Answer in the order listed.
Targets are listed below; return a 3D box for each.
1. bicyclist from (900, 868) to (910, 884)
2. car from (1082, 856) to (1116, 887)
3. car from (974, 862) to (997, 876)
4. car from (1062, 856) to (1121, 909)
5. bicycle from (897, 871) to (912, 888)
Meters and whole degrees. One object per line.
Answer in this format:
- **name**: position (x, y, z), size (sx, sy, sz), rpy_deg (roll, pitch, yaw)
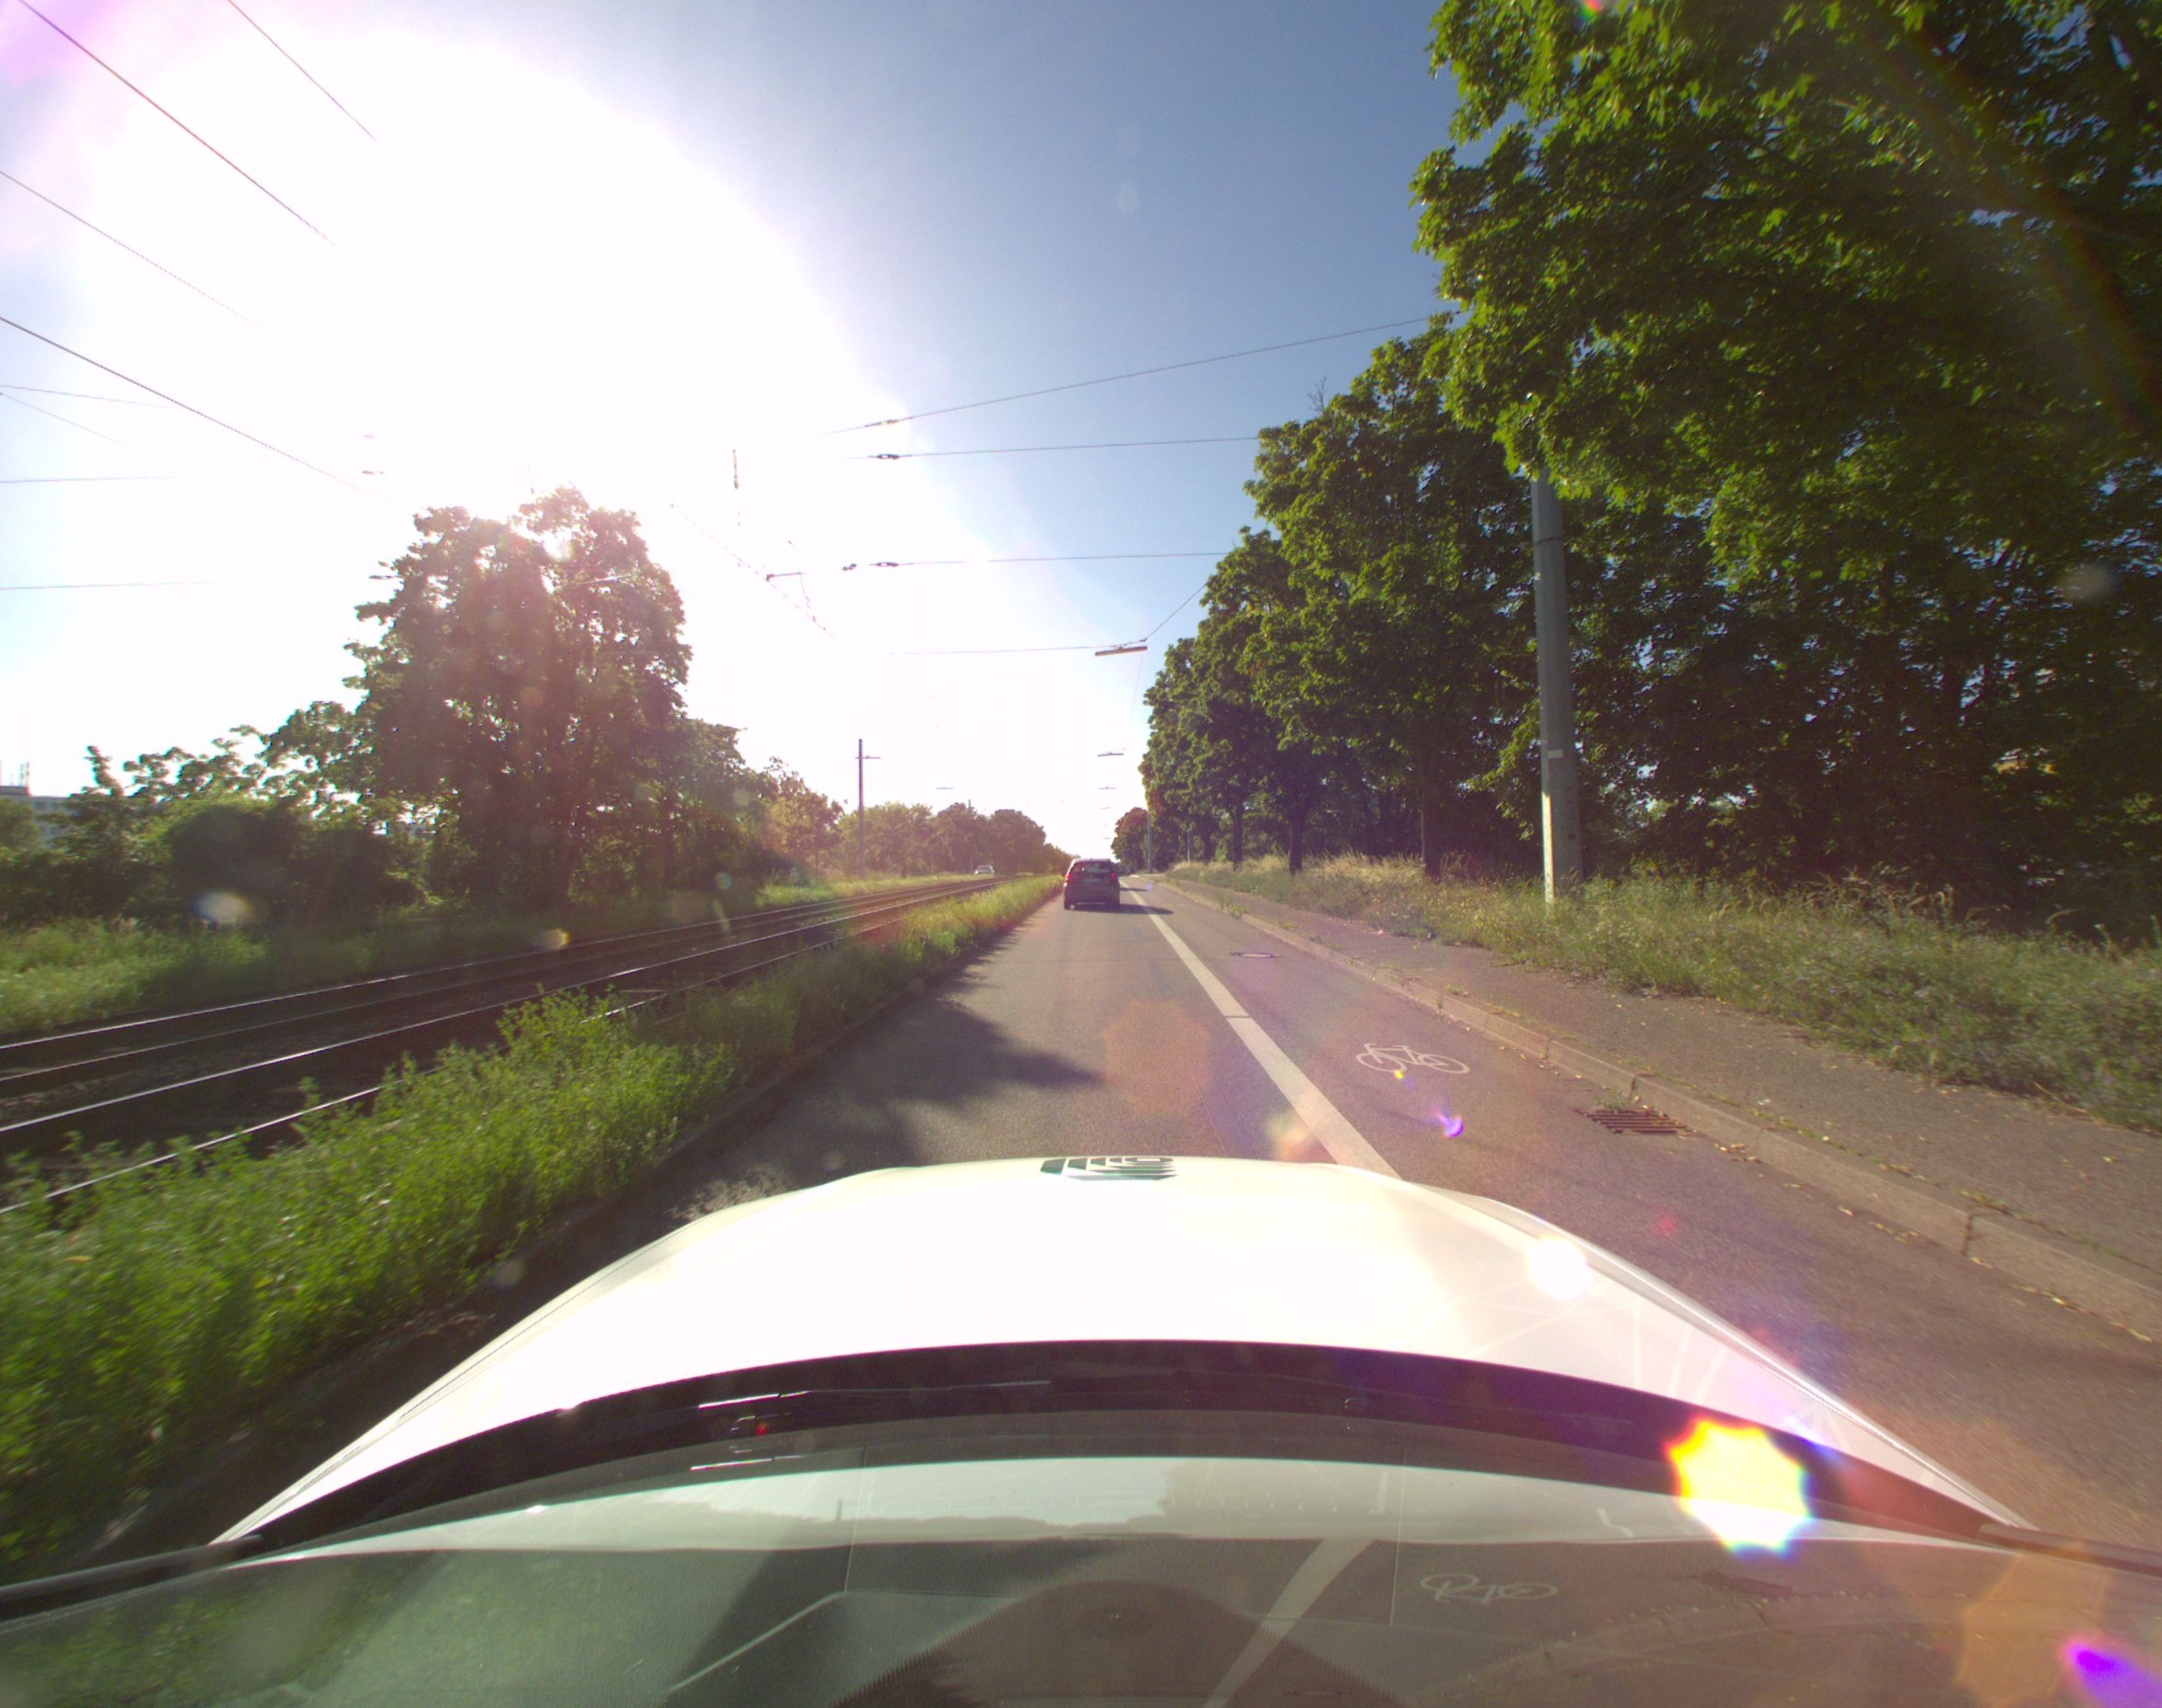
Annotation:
- **bicyclist**: position (-14.282, 1.804, 66.178), size (0.580, 1.310, 0.988), rpy_deg (0, 0, 2)
- **car**: position (0.971, 0.880, 41.754), size (1.648, 1.507, 3.813), rpy_deg (0, 0, 2)
- **car**: position (-10.465, 1.674, 89.742), size (1.802, 1.489, 4.409), rpy_deg (0, 0, 3)
- **car**: position (0.370, 0.832, 25.281), size (1.663, 1.507, 3.813), rpy_deg (-1, 0, 2)
- **bicycle**: position (-14.299, 2.071, 66.101), size (0.587, 1.261, 2.428), rpy_deg (0, 0, 2)
